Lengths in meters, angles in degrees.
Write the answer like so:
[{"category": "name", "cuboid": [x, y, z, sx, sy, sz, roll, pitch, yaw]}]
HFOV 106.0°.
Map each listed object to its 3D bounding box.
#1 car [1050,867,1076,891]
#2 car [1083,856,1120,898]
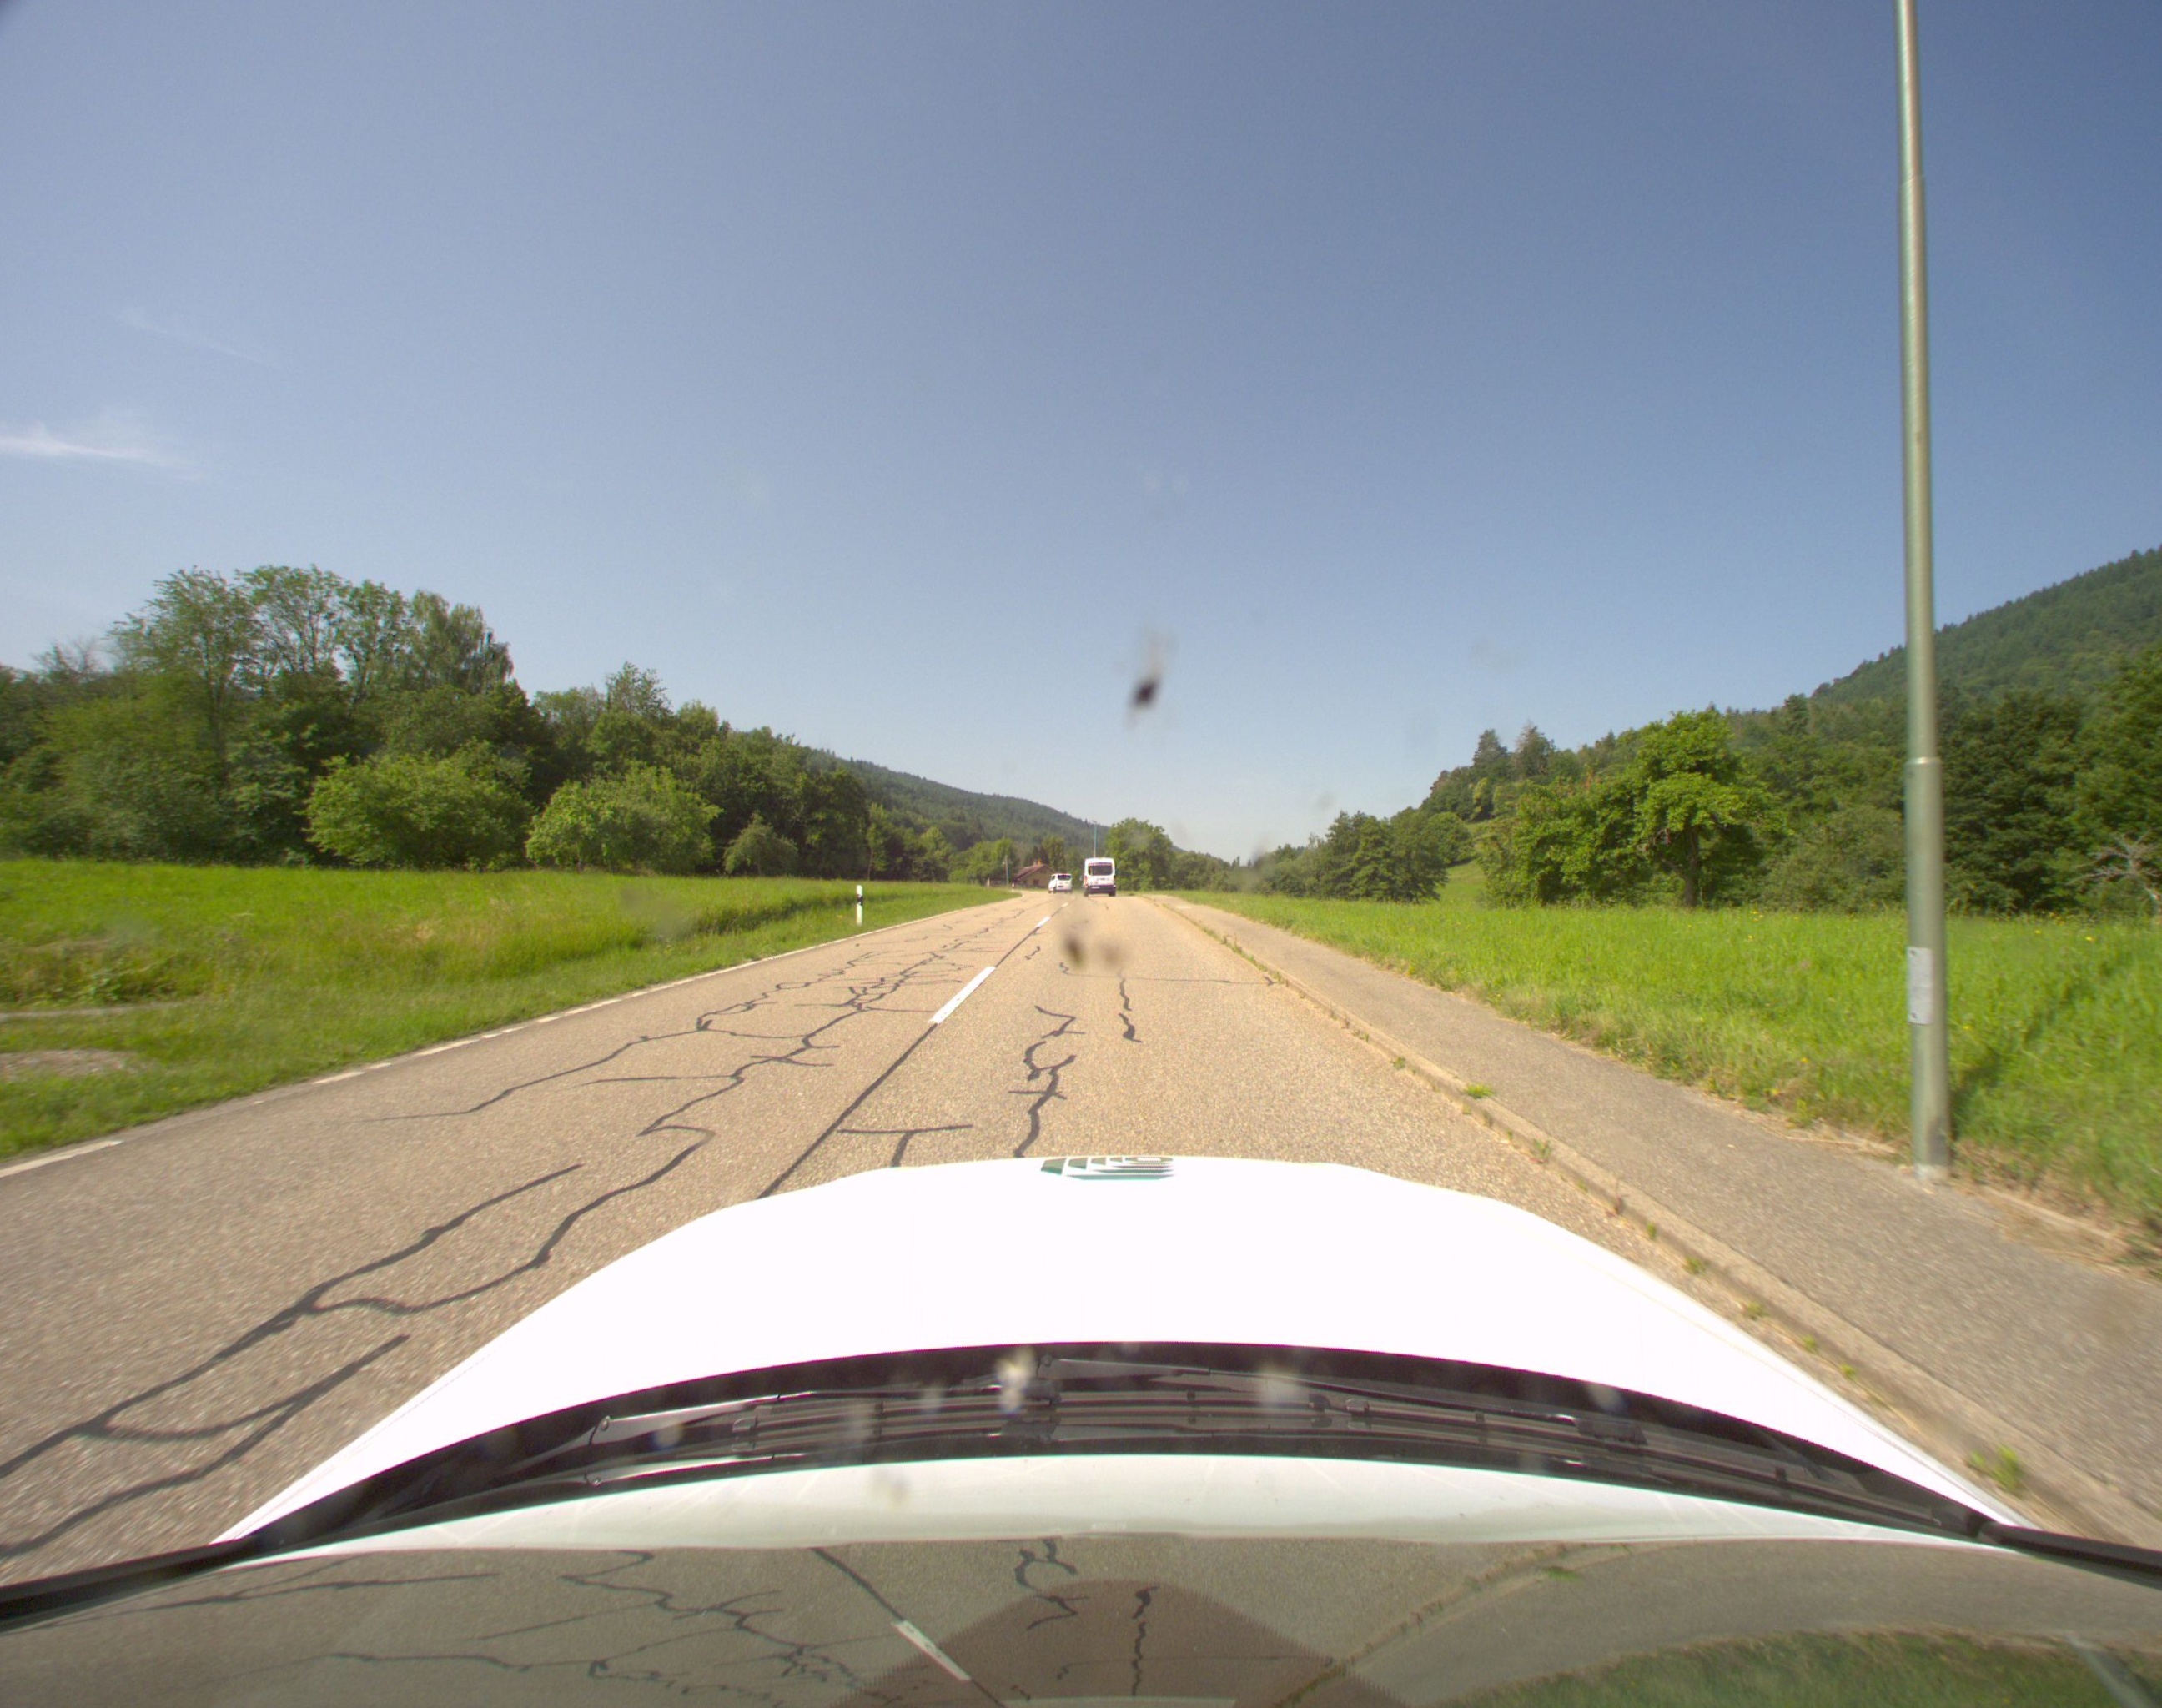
[{"category": "car", "cuboid": [-1.878, 2.643, 84.287, 2.220, 2.287, 4.972, -3, -2, -6]}, {"category": "car", "cuboid": [1.344, 1.524, 53.965, 2.214, 2.526, 4.985, -3, -2, 1]}]
